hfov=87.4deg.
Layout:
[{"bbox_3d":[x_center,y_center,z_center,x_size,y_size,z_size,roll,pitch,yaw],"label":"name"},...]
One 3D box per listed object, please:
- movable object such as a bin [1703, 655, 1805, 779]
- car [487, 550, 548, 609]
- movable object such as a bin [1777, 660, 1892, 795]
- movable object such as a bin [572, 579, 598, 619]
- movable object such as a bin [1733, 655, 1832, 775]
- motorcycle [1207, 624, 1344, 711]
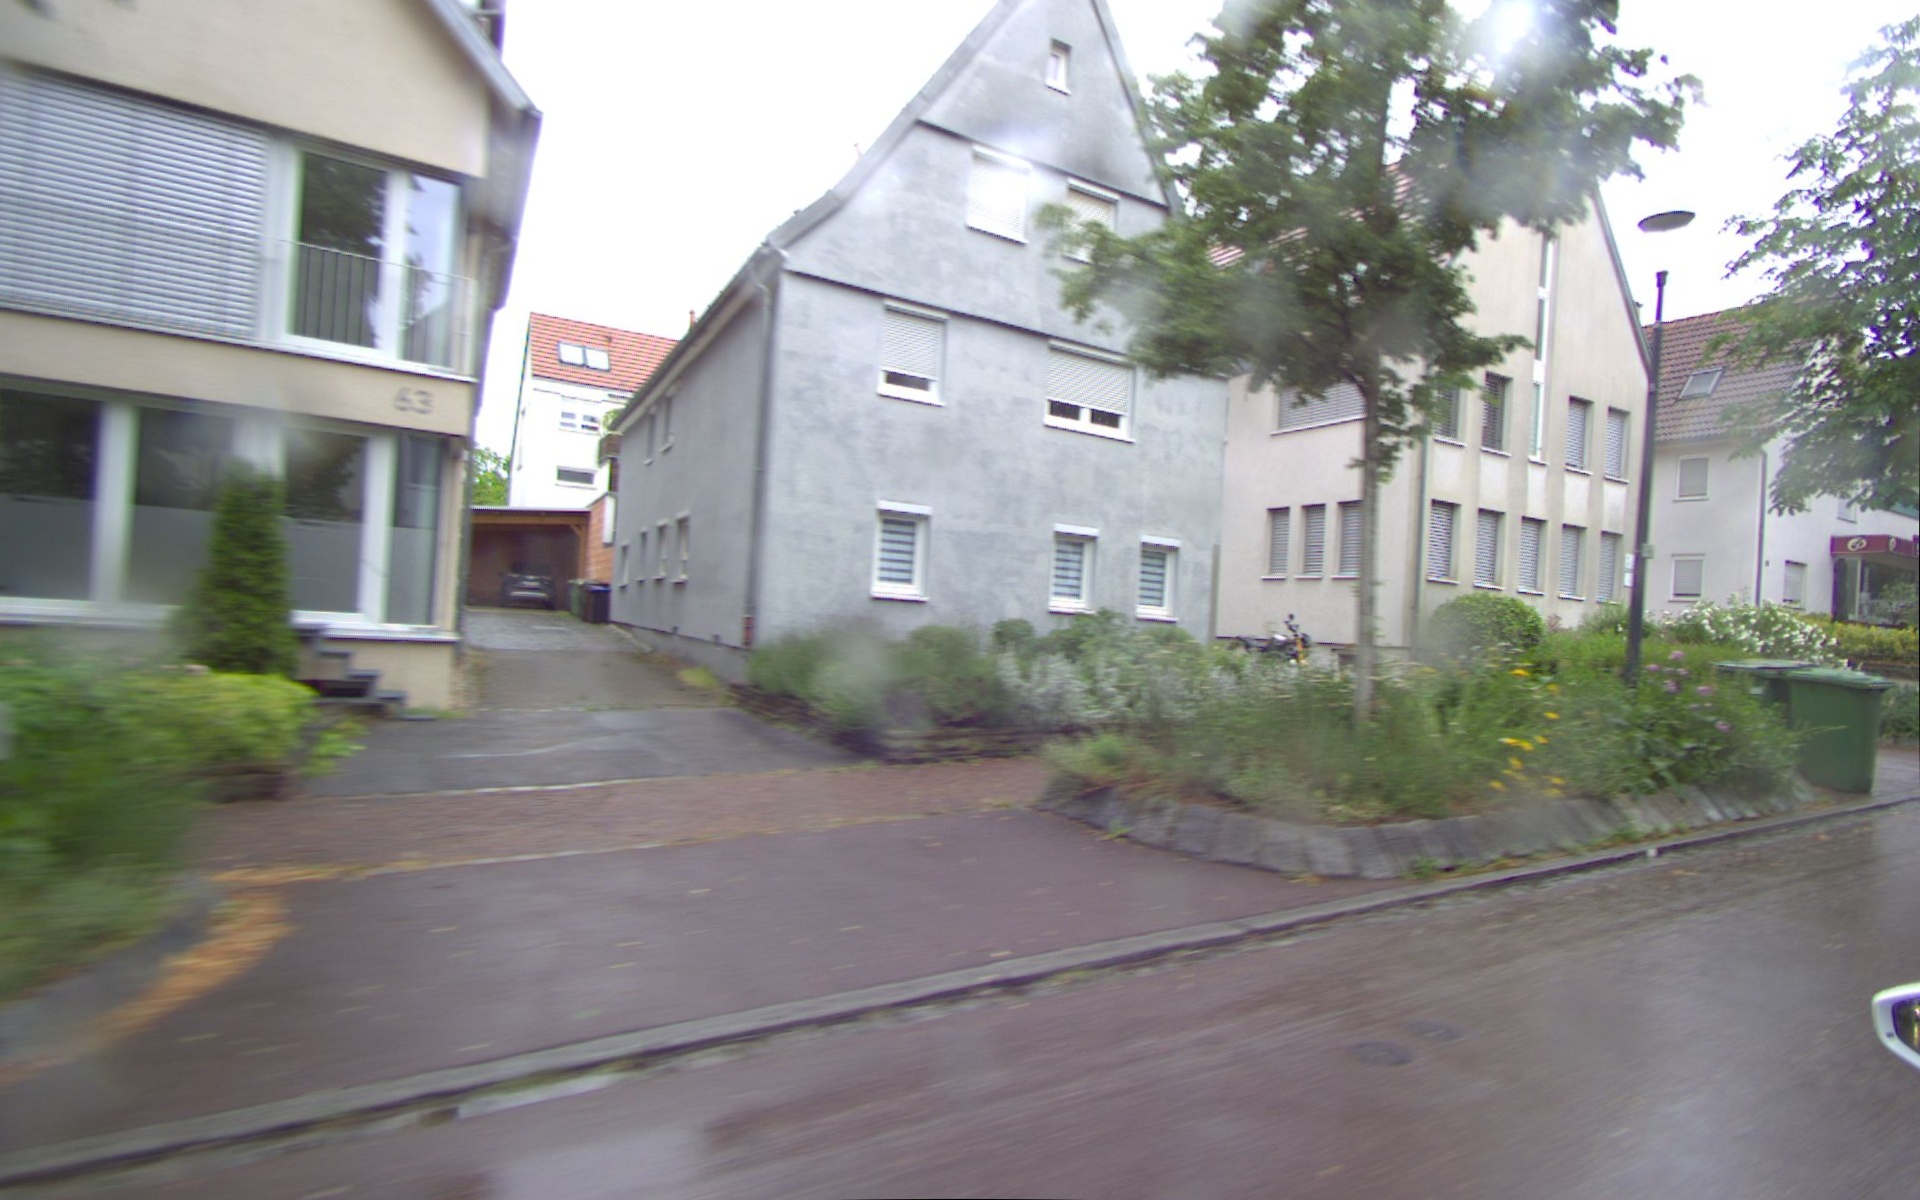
[{"bbox_3d":[7.788,1.127,9.857,0.557,1.126,0.608,0,0,-28],"label":"movable object such as a bin"},{"bbox_3d":[-15.336,-0.706,34.773,1.785,1.882,3.974,2,1,-25],"label":"car"},{"bbox_3d":[7.962,1.133,9.151,0.529,1.126,0.640,0,0,-28],"label":"movable object such as a bin"},{"bbox_3d":[-10.846,-0.037,29.048,0.647,1.093,0.672,3,2,-22],"label":"movable object such as a bin"},{"bbox_3d":[8.352,1.146,10.211,0.557,1.126,0.608,0,0,-28],"label":"movable object such as a bin"},{"bbox_3d":[4.803,0.993,15.429,0.808,1.177,1.973,1,0,-29],"label":"motorcycle"}]
